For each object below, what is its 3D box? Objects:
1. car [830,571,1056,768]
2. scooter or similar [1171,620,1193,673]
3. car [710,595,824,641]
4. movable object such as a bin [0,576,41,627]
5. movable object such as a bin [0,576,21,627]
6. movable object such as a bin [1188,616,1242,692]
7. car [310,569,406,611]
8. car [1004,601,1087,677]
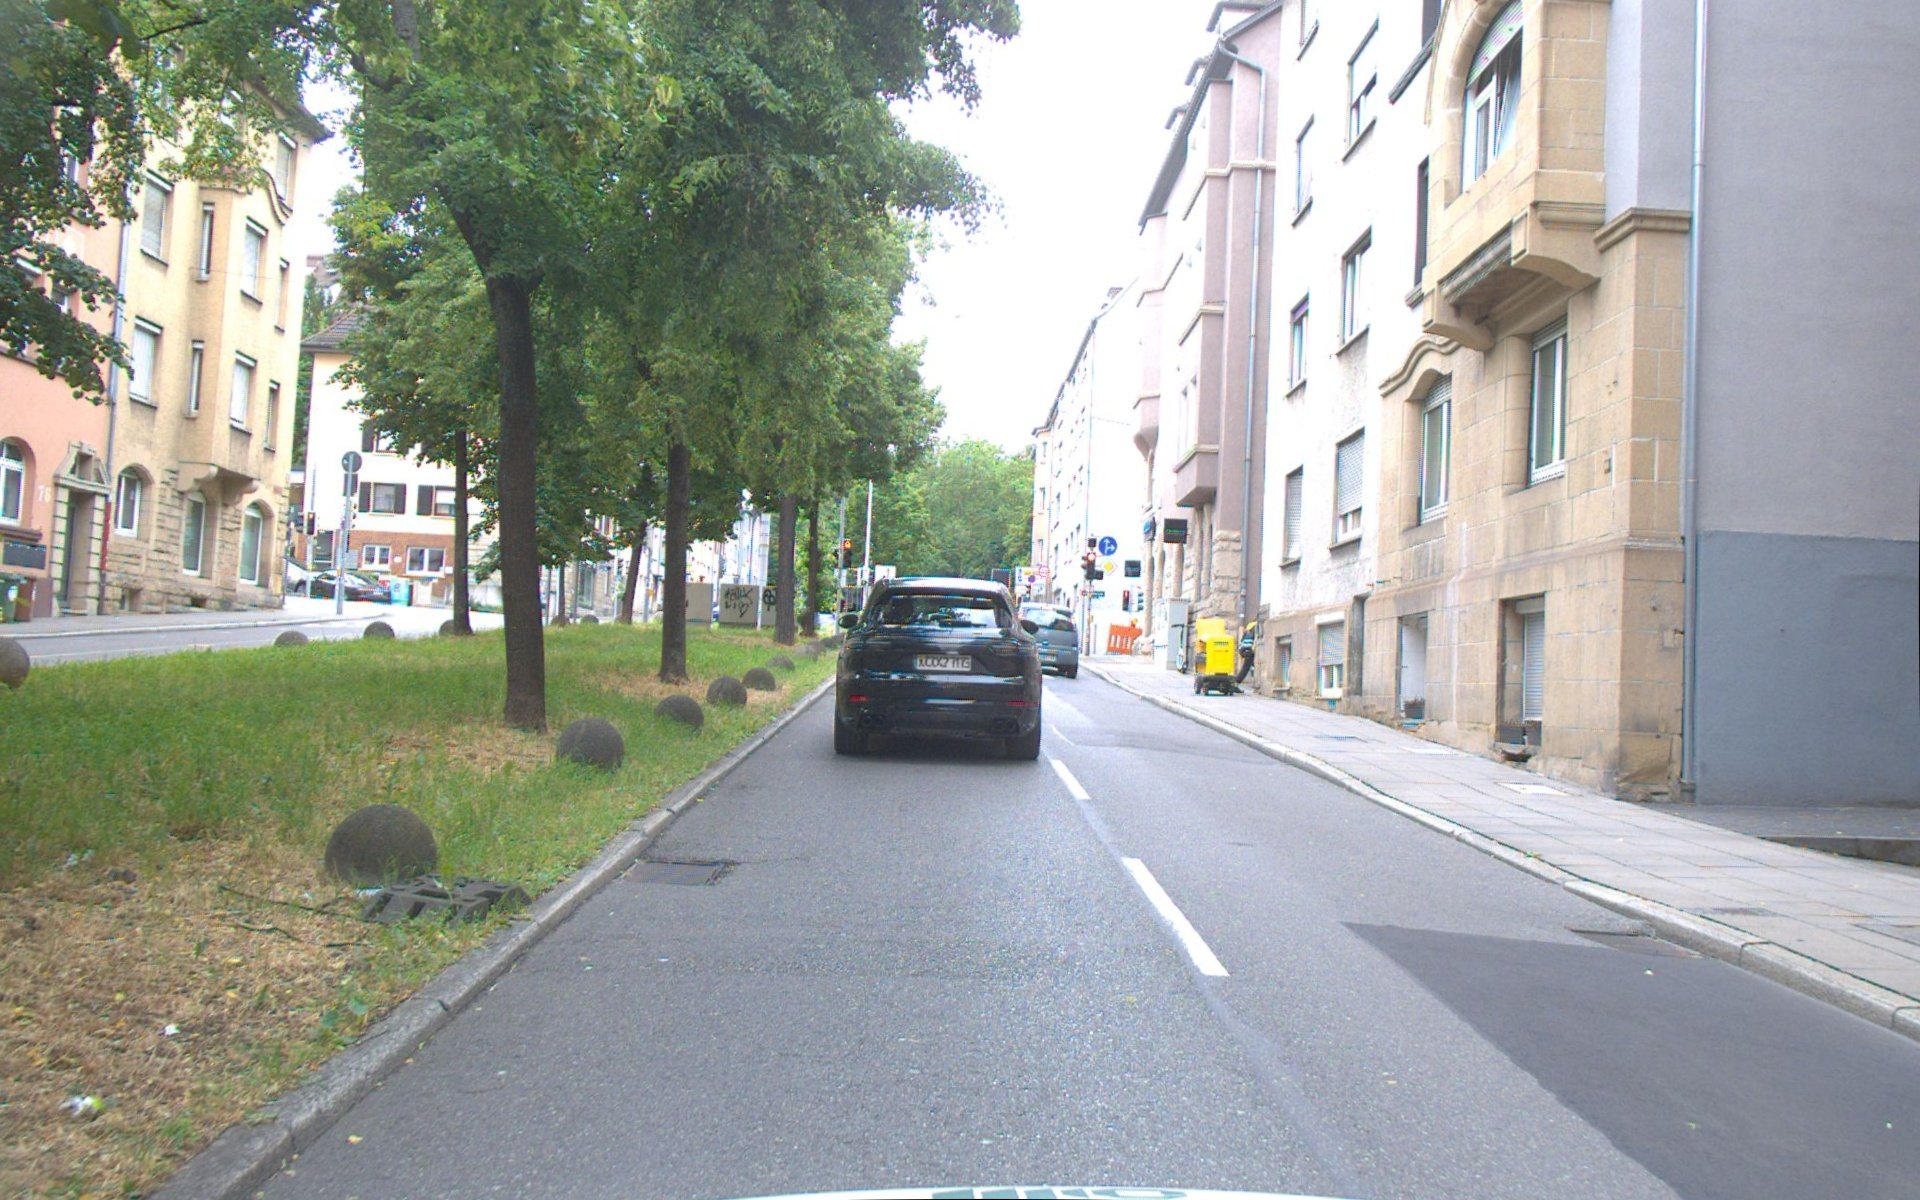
[{"bbox_3d":[-0.151,0.606,16.656,1.953,1.681,4.000,2,0,0],"label":"car"},{"bbox_3d":[5.405,1.120,40.298,0.392,1.209,1.355,1,1,3],"label":"scooter or similar"},{"bbox_3d":[-7.498,0.688,64.419,4.118,1.536,1.800,3,0,2],"label":"car"},{"bbox_3d":[-17.903,0.029,31.334,0.597,0.920,0.601,4,-1,-5],"label":"movable object such as a bin"},{"bbox_3d":[-17.894,0.020,30.649,0.597,0.920,0.601,4,-1,-5],"label":"movable object such as a bin"},{"bbox_3d":[5.036,1.062,32.717,0.705,1.446,1.692,2,-1,-3],"label":"movable object such as a bin"},{"bbox_3d":[-26.152,-0.438,71.836,3.916,1.694,1.877,1,-2,33],"label":"car"},{"bbox_3d":[1.981,0.890,39.136,1.716,1.621,3.630,3,0,0],"label":"car"}]
